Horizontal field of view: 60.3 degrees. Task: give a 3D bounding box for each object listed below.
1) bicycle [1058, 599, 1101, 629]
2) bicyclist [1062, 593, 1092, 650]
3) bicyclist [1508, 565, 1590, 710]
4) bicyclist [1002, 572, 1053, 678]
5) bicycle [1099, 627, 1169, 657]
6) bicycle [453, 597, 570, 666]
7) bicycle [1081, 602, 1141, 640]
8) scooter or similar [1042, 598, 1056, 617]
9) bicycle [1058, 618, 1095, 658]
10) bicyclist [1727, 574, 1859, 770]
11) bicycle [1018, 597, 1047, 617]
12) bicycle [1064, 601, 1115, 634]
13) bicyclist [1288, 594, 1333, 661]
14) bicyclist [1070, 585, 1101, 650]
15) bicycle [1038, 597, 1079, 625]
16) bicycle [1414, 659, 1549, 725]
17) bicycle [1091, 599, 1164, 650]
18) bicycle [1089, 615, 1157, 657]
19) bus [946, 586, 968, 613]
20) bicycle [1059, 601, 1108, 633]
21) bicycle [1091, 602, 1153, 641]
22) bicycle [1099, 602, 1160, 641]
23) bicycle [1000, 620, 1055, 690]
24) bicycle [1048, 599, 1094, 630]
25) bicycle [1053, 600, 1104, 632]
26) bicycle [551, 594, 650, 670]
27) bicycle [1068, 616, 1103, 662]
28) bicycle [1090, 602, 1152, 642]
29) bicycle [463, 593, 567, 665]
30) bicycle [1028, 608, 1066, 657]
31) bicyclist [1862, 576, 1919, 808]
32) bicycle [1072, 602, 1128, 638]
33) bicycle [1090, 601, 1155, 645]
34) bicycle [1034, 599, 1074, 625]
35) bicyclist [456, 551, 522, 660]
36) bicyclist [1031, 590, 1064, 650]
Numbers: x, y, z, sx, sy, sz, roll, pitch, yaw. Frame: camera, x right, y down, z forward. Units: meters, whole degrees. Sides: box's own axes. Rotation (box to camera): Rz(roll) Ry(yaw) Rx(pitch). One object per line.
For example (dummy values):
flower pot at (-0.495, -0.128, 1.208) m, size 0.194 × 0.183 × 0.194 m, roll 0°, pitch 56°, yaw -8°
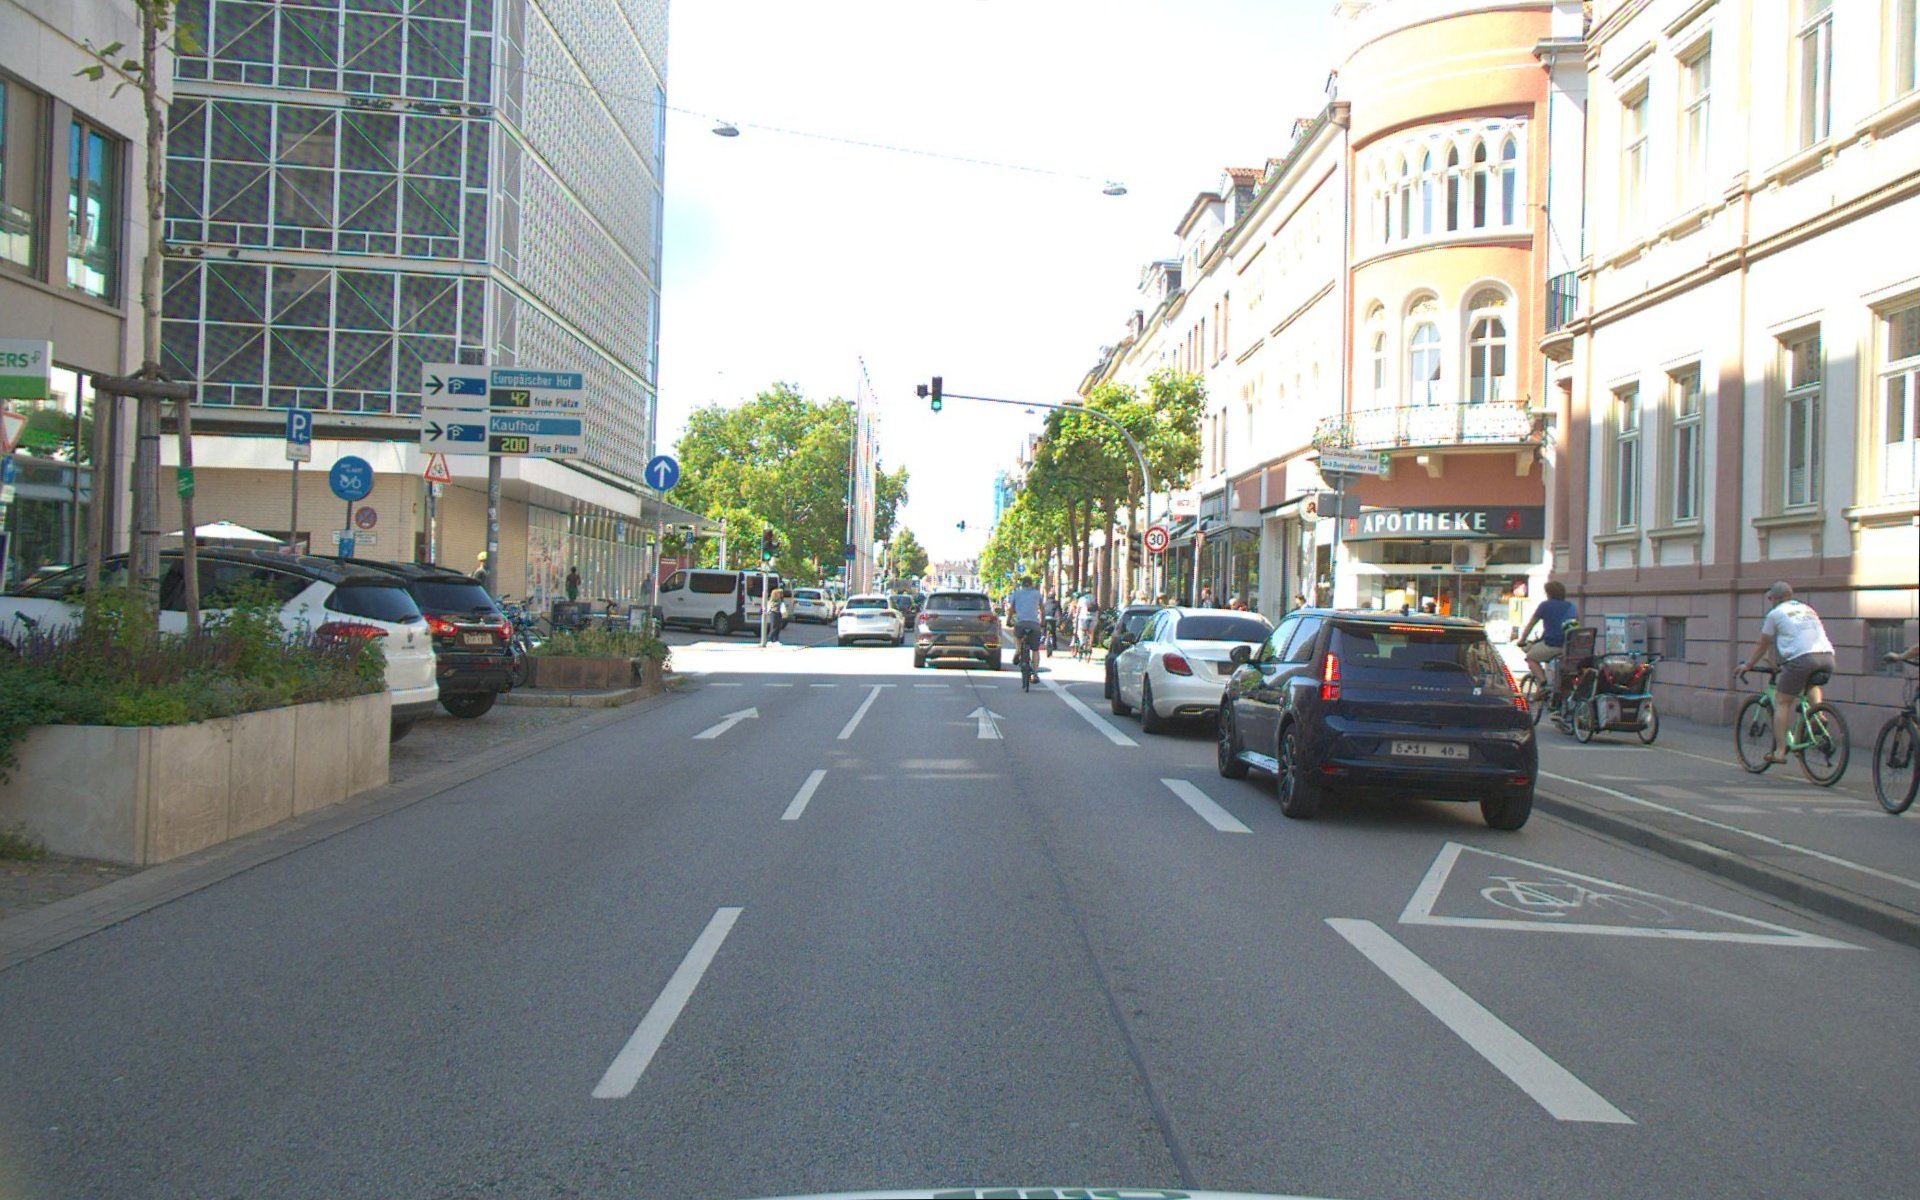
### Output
bicycle at (5.104, 0.611, 70.740) m, size 1.754 × 1.218 × 0.572 m, roll 2°, pitch 0°, yaw -28°
bicyclist at (2.953, 0.544, 41.692) m, size 0.588 × 1.381 × 0.720 m, roll 3°, pitch -1°, yaw -4°
bicyclist at (7.072, 0.447, 19.881) m, size 0.716 × 1.703 × 0.774 m, roll 0°, pitch 0°, yaw 0°
bicyclist at (1.074, 0.399, 26.594) m, size 0.758 × 1.664 × 0.851 m, roll 1°, pitch 0°, yaw 0°
bicycle at (4.879, 1.178, 46.513) m, size 1.124 × 0.441 × 1.842 m, roll -10°, pitch -4°, yaw -26°
bicycle at (-8.379, 0.582, 30.921) m, size 1.944 × 1.146 × 0.800 m, roll 1°, pitch 5°, yaw 6°
bicycle at (4.724, 0.657, 51.772) m, size 1.802 × 1.146 × 0.643 m, roll 1°, pitch -1°, yaw 1°
scooter or similar at (5.806, 0.496, 107.428) m, size 0.414 × 1.198 × 1.224 m, roll 2°, pitch 0°, yaw -20°
bicycle at (2.922, 0.943, 41.688) m, size 0.588 × 0.942 × 2.085 m, roll 3°, pitch -1°, yaw -4°
bicyclist at (7.502, 0.614, 14.937) m, size 0.560 × 1.690 × 1.158 m, roll 0°, pitch 1°, yaw -4°
bicycle at (4.584, 0.451, 104.224) m, size 1.805 × 1.222 × 0.608 m, roll 2°, pitch 0°, yaw 2°
bicycle at (4.684, 0.642, 60.020) m, size 1.804 × 1.147 × 0.447 m, roll 1°, pitch -1°, yaw 28°
bicyclist at (7.611, 0.592, 35.918) m, size 0.841 × 1.436 × 0.501 m, roll 1°, pitch 0°, yaw 0°
bicyclist at (2.959, 0.405, 39.067) m, size 0.617 × 1.507 × 1.198 m, roll 1°, pitch 0°, yaw -1°
bicycle at (4.600, 0.525, 77.096) m, size 1.801 × 1.218 × 0.674 m, roll 2°, pitch 0°, yaw 7°
bicycle at (10.549, 1.858, 33.490) m, size 2.513 × 1.146 × 0.628 m, roll 3°, pitch -5°, yaw 22°
bicycle at (4.508, 0.655, 44.581) m, size 1.822 × 1.209 × 0.713 m, roll 6°, pitch 3°, yaw 38°
bicycle at (4.650, 1.029, 47.312) m, size 1.814 × 0.401 × 1.024 m, roll 10°, pitch -35°, yaw 4°
bus at (-0.453, 0.022, 238.150) m, size 2.934 × 3.657 × 11.741 m, roll 2°, pitch -1°, yaw -1°
bicycle at (4.563, 0.626, 61.048) m, size 1.826 × 1.147 × 0.586 m, roll 2°, pitch -2°, yaw -37°
bicycle at (4.906, 0.650, 50.198) m, size 1.802 × 1.146 × 0.666 m, roll 1°, pitch -1°, yaw 1°
bicycle at (5.241, 0.661, 51.233) m, size 1.802 × 1.146 × 0.666 m, roll 1°, pitch -1°, yaw 1°
bicycle at (1.068, 0.865, 26.612) m, size 0.758 × 1.023 × 2.329 m, roll 1°, pitch 0°, yaw 0°
bicycle at (4.642, 0.615, 69.071) m, size 1.806 × 1.146 × 0.496 m, roll 4°, pitch 1°, yaw -9°
bicycle at (4.627, 0.621, 64.616) m, size 1.807 × 1.146 × 0.631 m, roll 4°, pitch -1°, yaw -11°
bicycle at (-6.107, 0.532, 28.032) m, size 2.030 × 1.193 × 0.601 m, roll 2°, pitch -1°, yaw 45°
bicycle at (2.951, 0.908, 39.059) m, size 0.617 × 0.997 × 2.088 m, roll 1°, pitch 0°, yaw -1°
bicycle at (4.812, 0.646, 49.403) m, size 1.801 × 1.146 × 0.667 m, roll 1°, pitch -1°, yaw 7°
bicycle at (-7.676, 0.487, 28.480) m, size 2.023 × 1.189 × 0.603 m, roll 1°, pitch -1°, yaw 37°
bicycle at (2.183, 0.802, 41.834) m, size 0.684 × 1.146 × 2.080 m, roll 3°, pitch 0°, yaw -4°
bicyclist at (7.075, 0.638, 11.886) m, size 0.730 × 1.600 × 0.845 m, roll -1°, pitch 2°, yaw 0°
bicycle at (4.593, 0.667, 54.324) m, size 1.802 × 1.147 × 0.530 m, roll 1°, pitch -1°, yaw 1°
bicycle at (4.722, 0.662, 48.115) m, size 1.801 × 1.146 × 0.346 m, roll 4°, pitch 1°, yaw 15°
bicycle at (4.432, 0.561, 78.161) m, size 1.801 × 1.146 × 0.498 m, roll 3°, pitch 0°, yaw 11°
bicyclist at (-8.826, 0.095, 31.027) m, size 0.824 × 1.994 × 1.017 m, roll 1°, pitch 0°, yaw 5°
bicyclist at (2.201, 0.511, 41.745) m, size 0.684 × 1.466 × 0.790 m, roll 3°, pitch 0°, yaw -4°
